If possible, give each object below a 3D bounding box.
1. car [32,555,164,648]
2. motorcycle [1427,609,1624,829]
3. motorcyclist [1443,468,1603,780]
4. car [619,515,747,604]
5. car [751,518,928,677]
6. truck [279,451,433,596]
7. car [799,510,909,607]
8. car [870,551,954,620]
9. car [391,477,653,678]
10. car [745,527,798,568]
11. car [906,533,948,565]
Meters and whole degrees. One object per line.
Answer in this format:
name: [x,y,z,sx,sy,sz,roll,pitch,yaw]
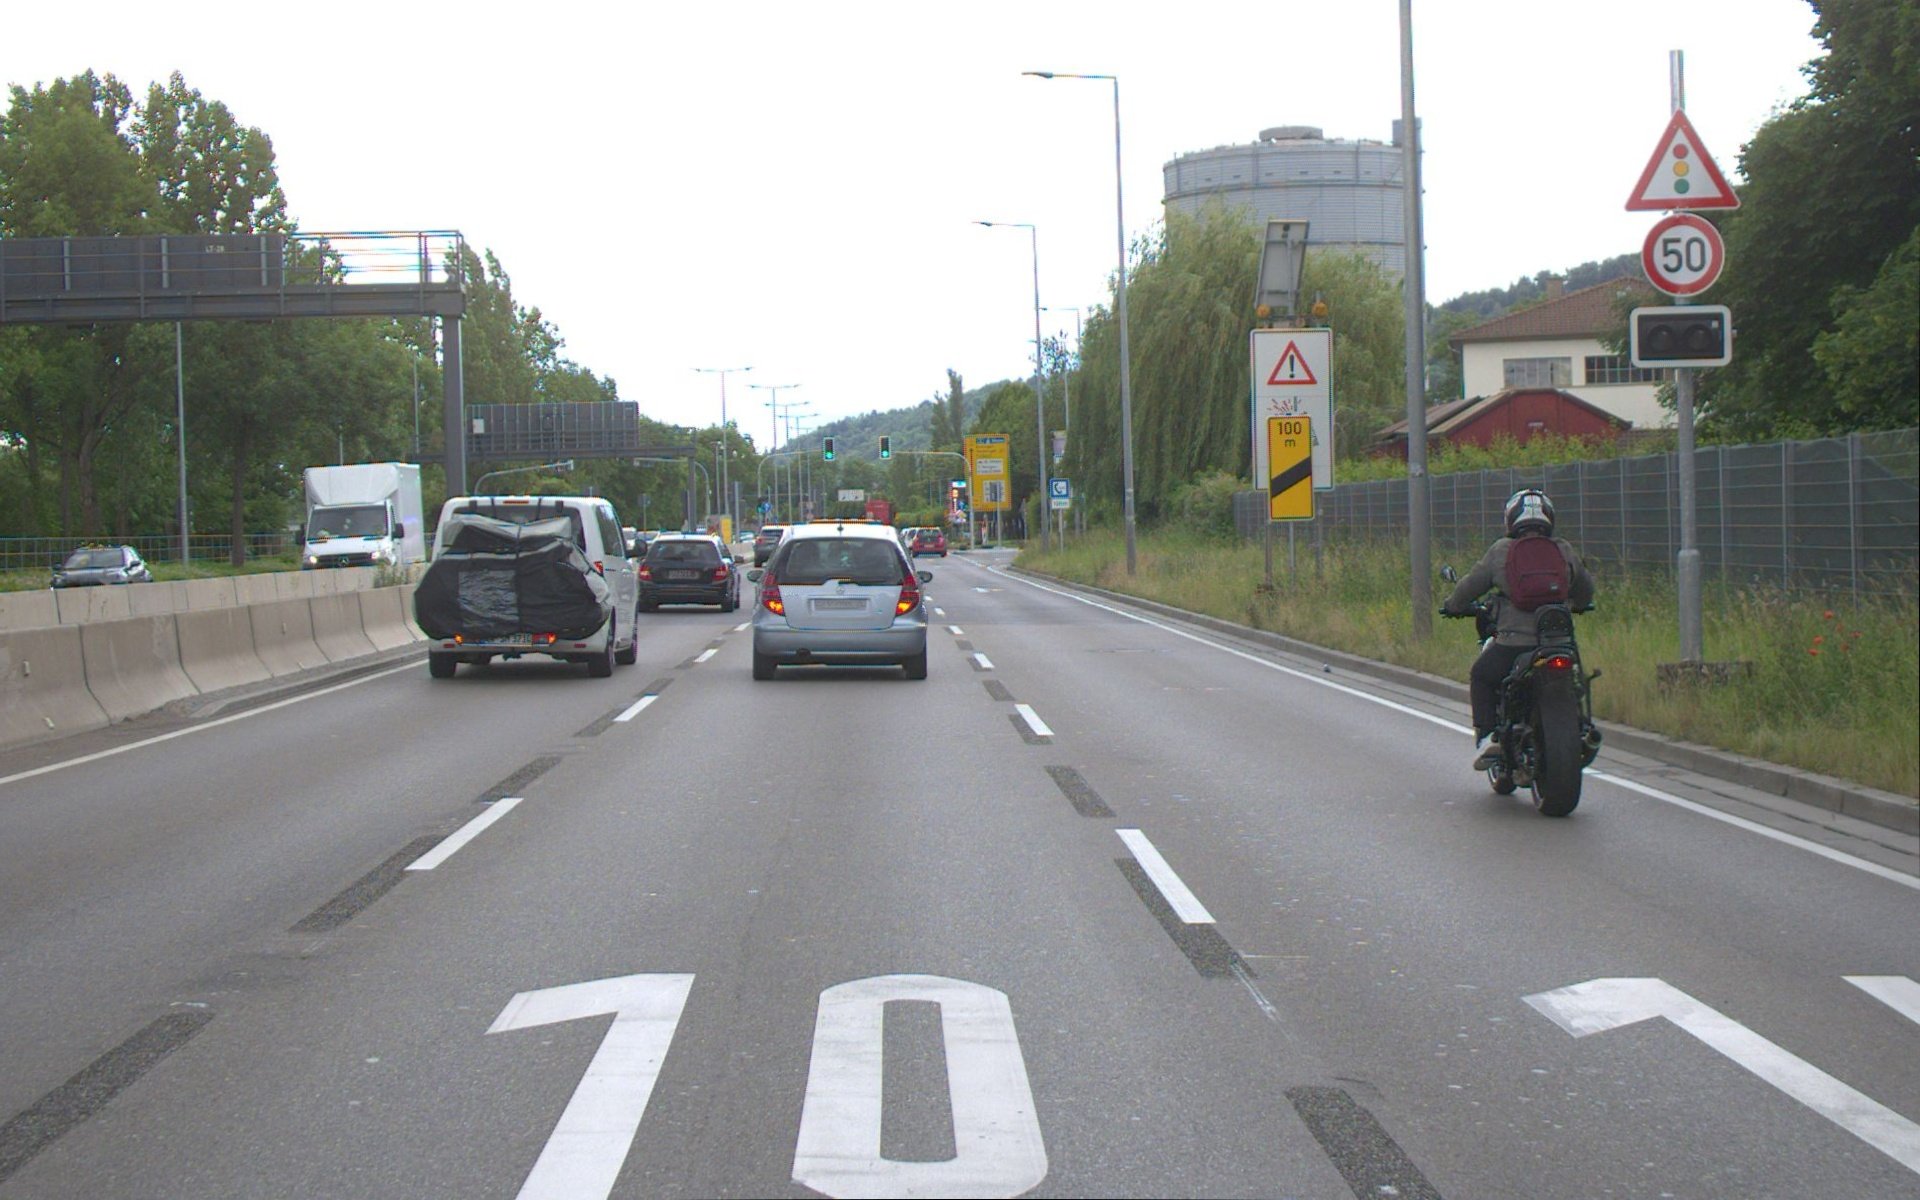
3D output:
car: [-19.657,-0.002,78.514,1.993,2.007,4.000,1,1,0]
motorcycle: [2.959,0.596,18.176,0.706,1.036,2.027,1,1,0]
motorcyclist: [2.966,0.115,18.183,0.685,1.604,0.845,1,1,1]
car: [-5.018,-0.756,62.677,1.993,1.546,4.000,1,1,0]
car: [-1.243,-0.068,35.692,1.710,1.525,4.001,1,1,-2]
truck: [-13.548,-1.722,77.597,2.403,3.096,7.203,1,1,-2]
car: [-1.910,-0.778,62.809,1.907,1.678,4.000,1,1,-1]
car: [-1.106,-0.343,77.939,1.840,1.459,4.000,1,1,-1]
car: [-4.479,-0.277,35.915,2.214,1.919,5.003,1,1,-2]
car: [-7.363,-2.072,134.760,1.993,1.546,4.001,1,1,-2]
car: [-1.673,-2.614,175.423,1.993,1.546,4.001,1,1,-2]
